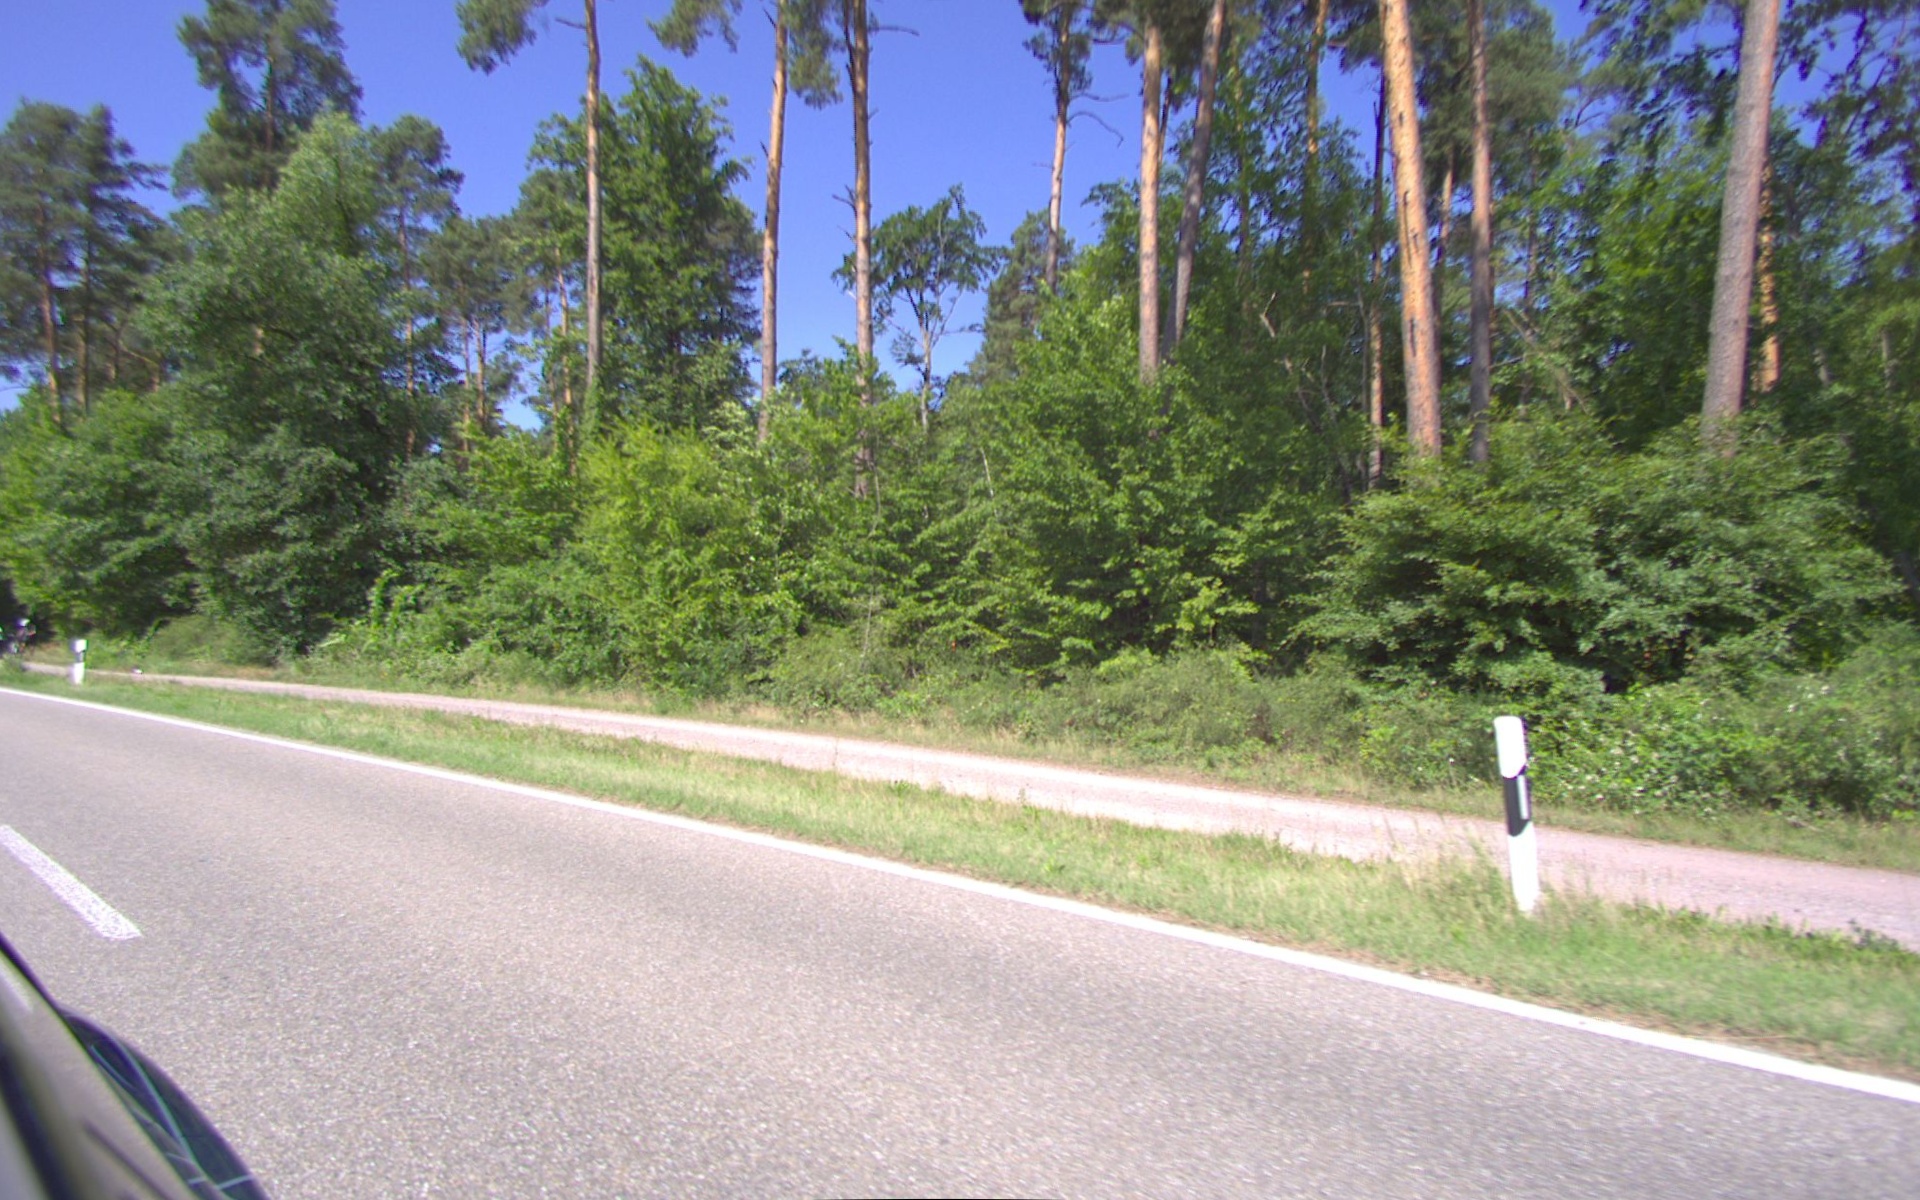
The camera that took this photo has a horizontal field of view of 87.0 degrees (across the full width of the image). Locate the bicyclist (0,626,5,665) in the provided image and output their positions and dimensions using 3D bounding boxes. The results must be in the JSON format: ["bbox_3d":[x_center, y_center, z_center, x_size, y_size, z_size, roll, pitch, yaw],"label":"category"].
[{"bbox_3d":[-43.807,2.078,45.741,0.596,1.732,0.791,0,0,-11],"label":"bicyclist"}]

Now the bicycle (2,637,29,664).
[{"bbox_3d":[-40.025,2.149,42.904,0.572,1.094,1.451,-1,-1,-32],"label":"bicycle"}]

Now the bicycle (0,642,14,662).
[{"bbox_3d":[-43.796,2.389,45.720,0.596,0.836,1.990,0,0,-11],"label":"bicycle"}]

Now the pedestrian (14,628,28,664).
[{"bbox_3d":[-39.857,1.950,42.943,0.388,1.550,0.282,-1,-2,24],"label":"pedestrian"}]
